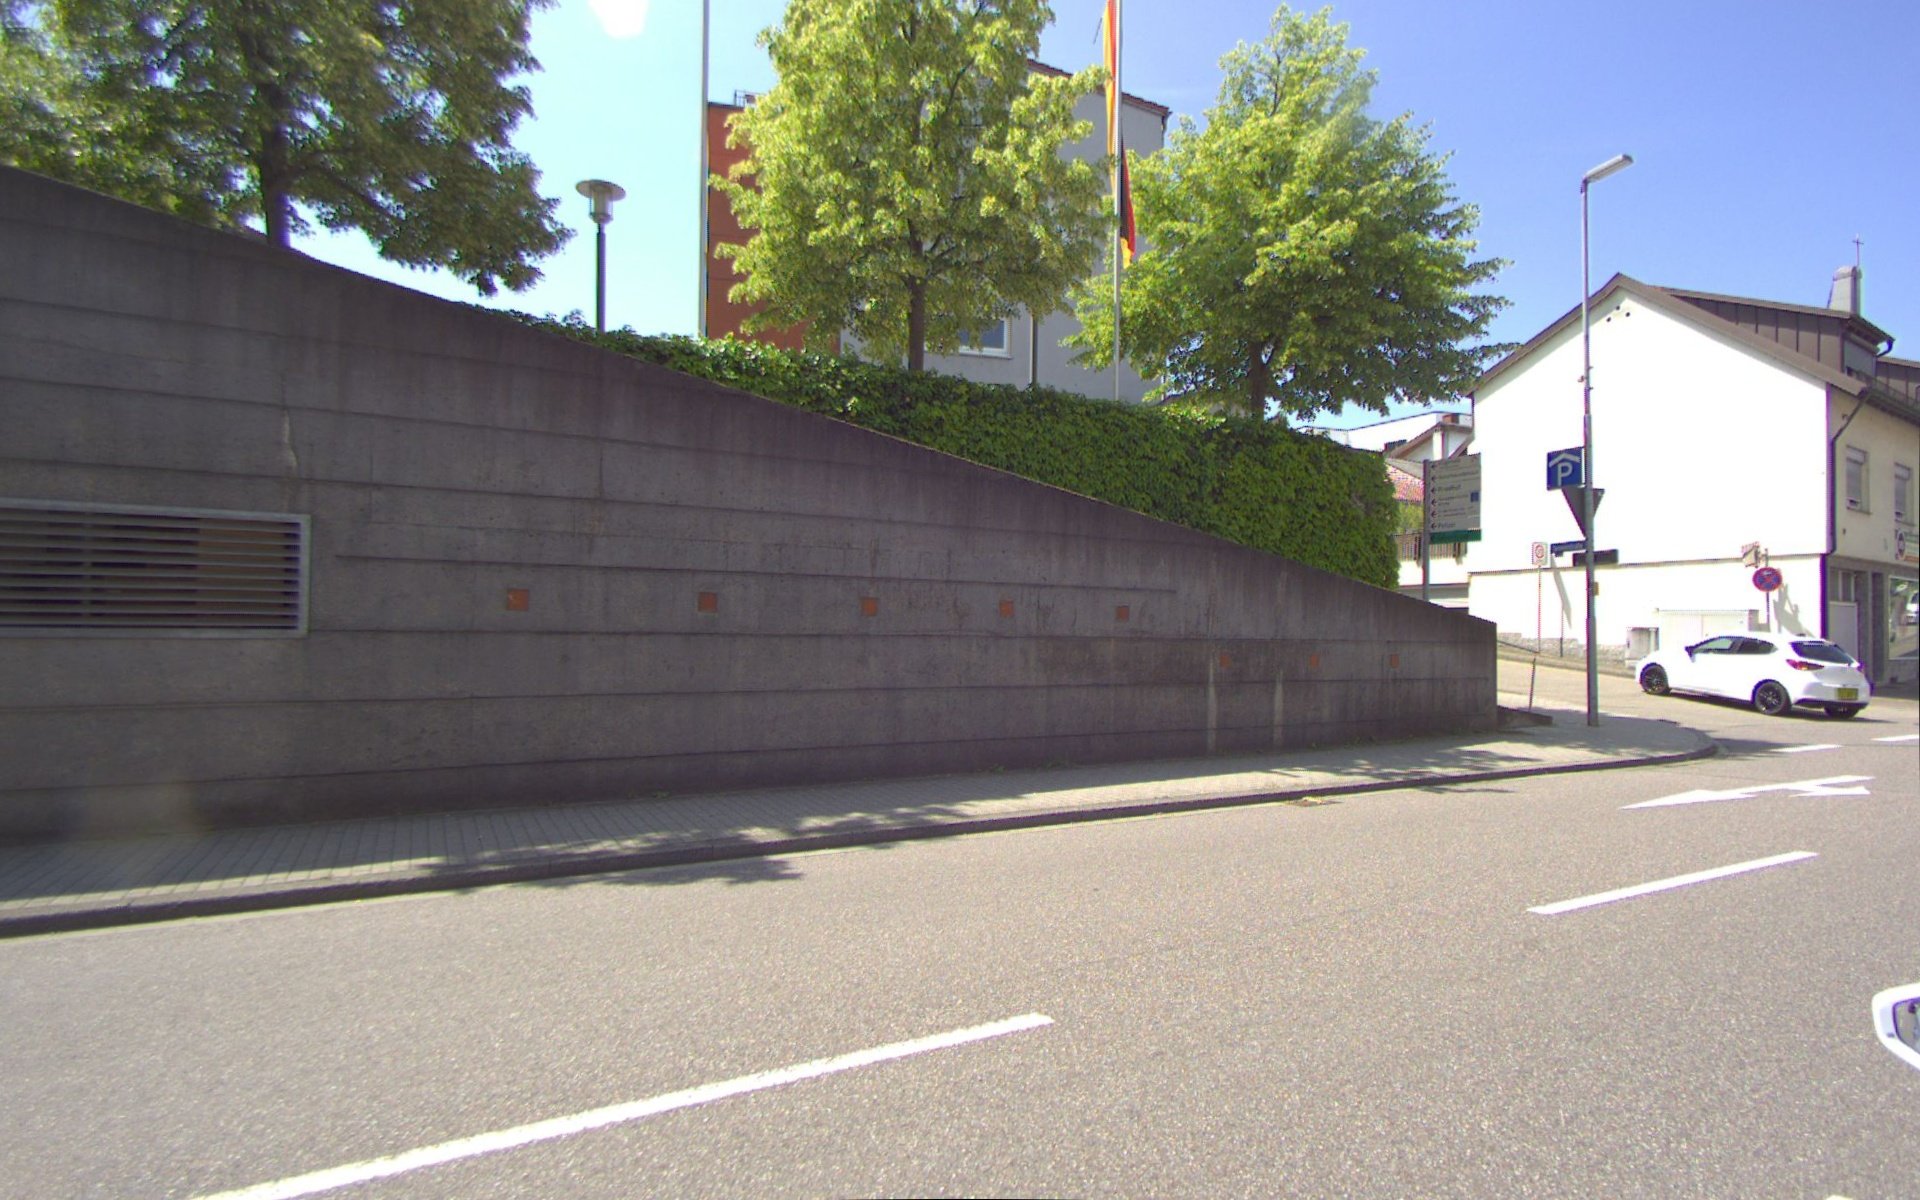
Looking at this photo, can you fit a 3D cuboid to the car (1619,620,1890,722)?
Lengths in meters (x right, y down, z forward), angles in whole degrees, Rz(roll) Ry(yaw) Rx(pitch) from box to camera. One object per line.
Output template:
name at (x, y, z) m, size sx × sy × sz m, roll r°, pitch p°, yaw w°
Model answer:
car at (15.390, 1.304, 19.773) m, size 1.780 × 1.487 × 3.994 m, roll 2°, pitch 3°, yaw -8°
